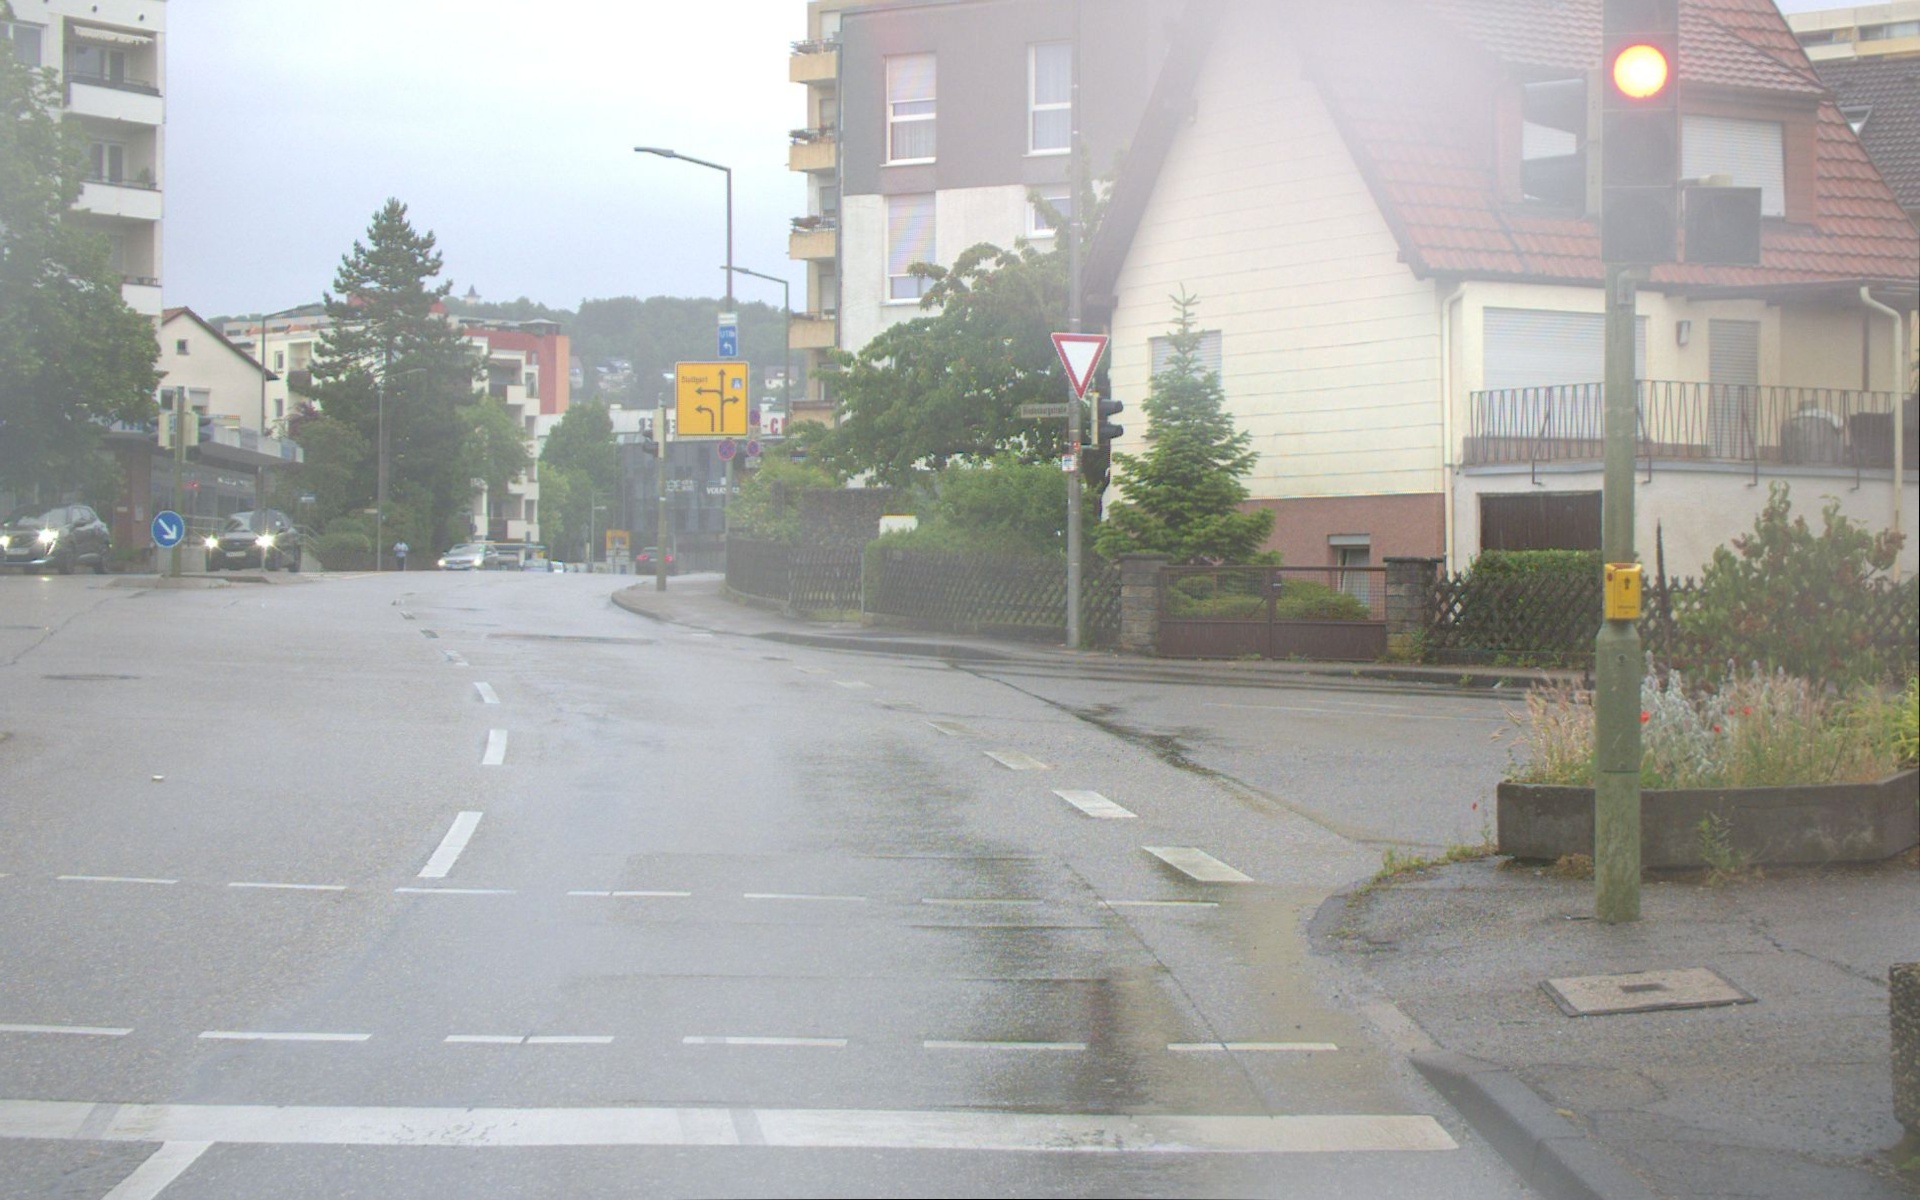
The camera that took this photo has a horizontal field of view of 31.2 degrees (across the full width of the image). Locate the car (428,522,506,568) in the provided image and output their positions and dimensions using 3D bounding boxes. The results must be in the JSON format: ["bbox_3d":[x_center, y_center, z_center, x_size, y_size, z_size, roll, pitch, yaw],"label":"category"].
[{"bbox_3d":[-20.355,-2.290,142.046,1.757,1.809,3.858,1,2,16],"label":"car"}]

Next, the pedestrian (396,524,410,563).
[{"bbox_3d":[-23.736,-2.409,146.489,0.497,1.652,0.434,1,1,10],"label":"pedestrian"}]

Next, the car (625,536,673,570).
[{"bbox_3d":[-14.196,-2.175,156.999,1.813,1.481,4.189,0,2,0],"label":"car"}]

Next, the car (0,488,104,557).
[{"bbox_3d":[-19.197,-1.636,71.814,1.715,1.382,4.021,1,2,-1],"label":"car"}]

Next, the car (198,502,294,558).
[{"bbox_3d":[-18.532,-1.833,89.337,1.778,1.415,3.831,1,2,-1],"label":"car"}]
